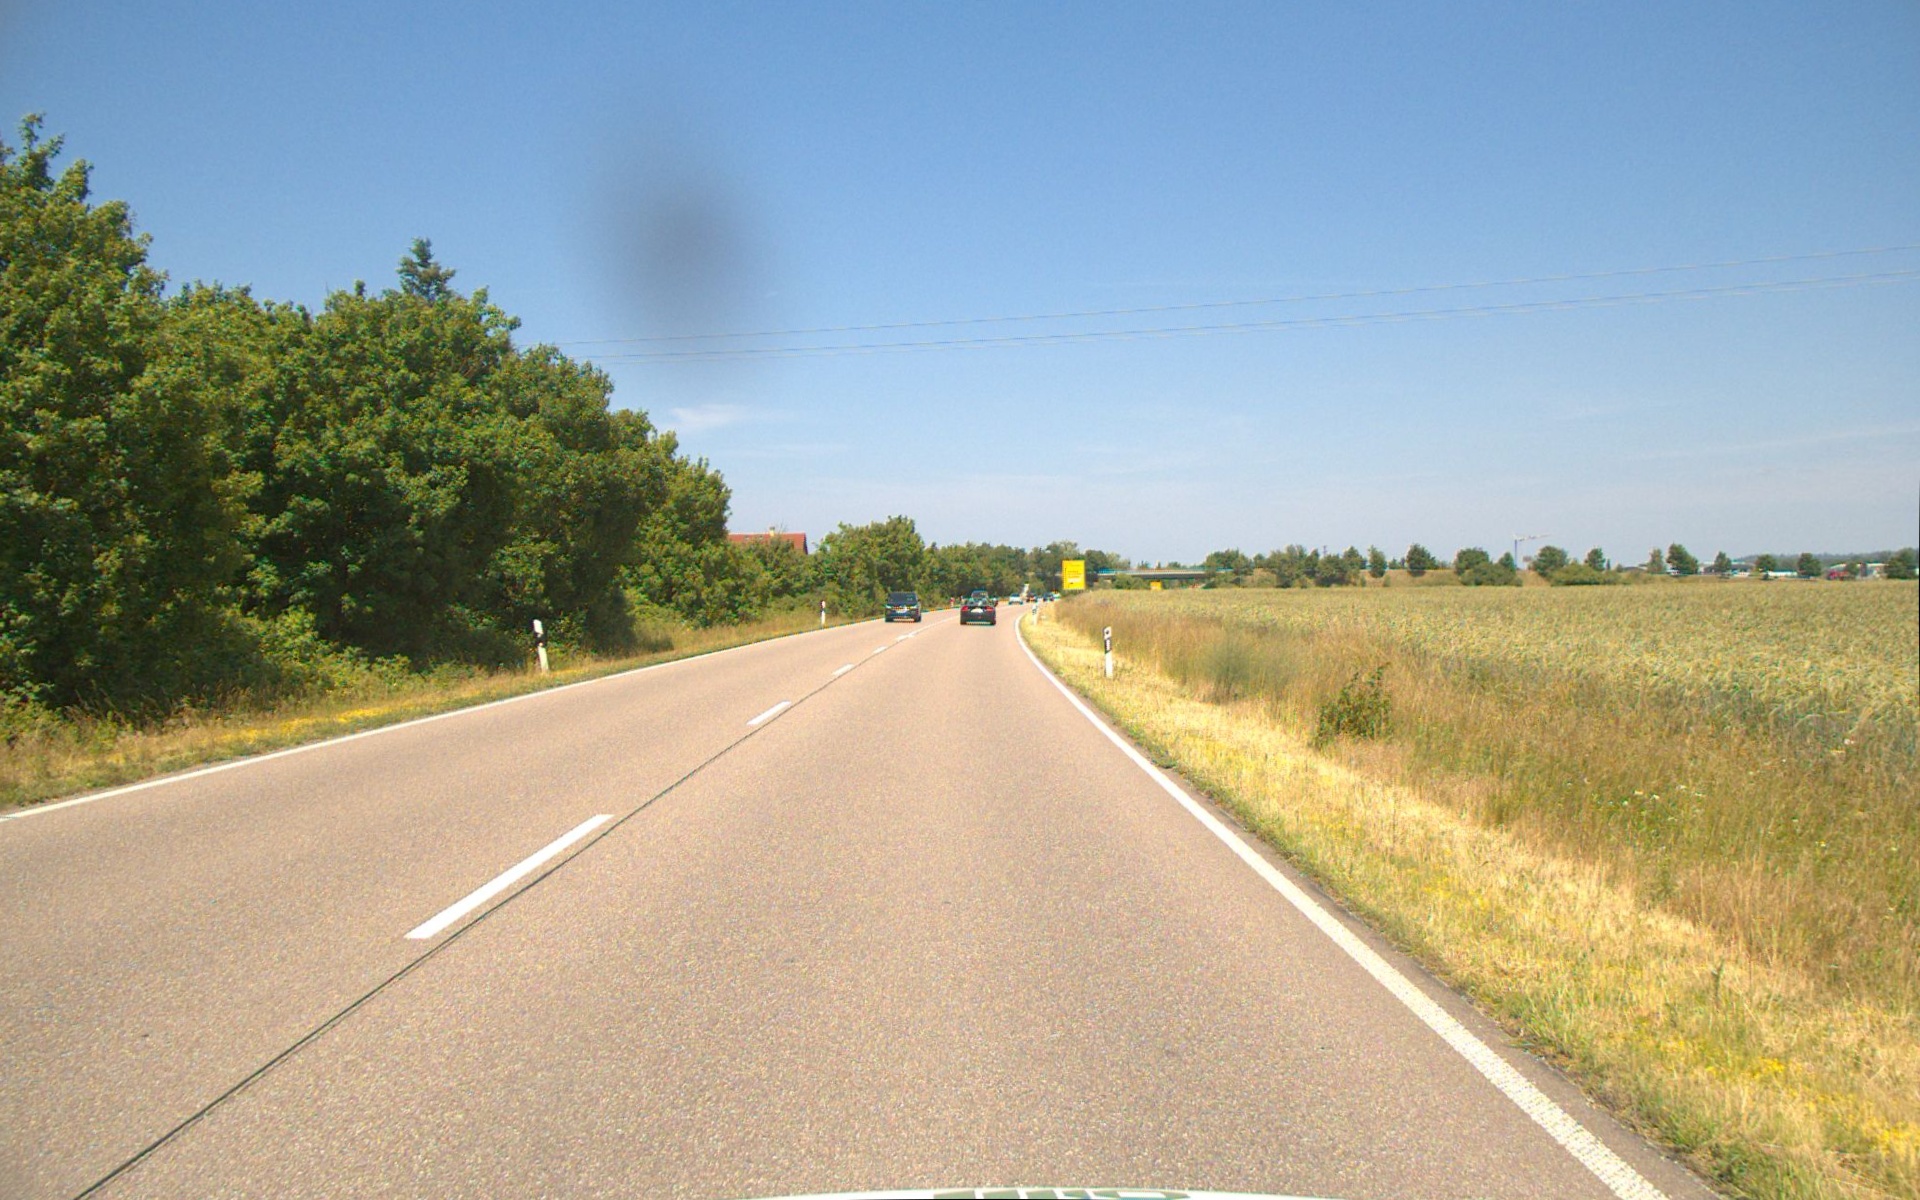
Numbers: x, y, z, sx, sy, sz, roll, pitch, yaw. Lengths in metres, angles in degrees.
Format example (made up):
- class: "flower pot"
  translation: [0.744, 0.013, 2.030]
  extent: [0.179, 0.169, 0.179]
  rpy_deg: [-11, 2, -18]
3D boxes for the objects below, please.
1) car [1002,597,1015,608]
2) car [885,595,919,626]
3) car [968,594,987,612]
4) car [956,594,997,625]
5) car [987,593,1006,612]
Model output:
- class: "car"
  translation: [6.475, 0.346, 220.594]
  extent: [1.671, 1.405, 3.821]
  rpy_deg: [0, 0, 3]
- class: "car"
  translation: [-3.038, 0.515, 87.371]
  extent: [1.664, 1.594, 3.671]
  rpy_deg: [0, 0, 0]
- class: "car"
  translation: [1.741, 0.277, 163.490]
  extent: [1.781, 1.731, 5.003]
  rpy_deg: [0, 0, 2]
- class: "car"
  translation: [0.845, 0.459, 82.030]
  extent: [1.776, 1.466, 4.002]
  rpy_deg: [1, 0, 3]
- class: "car"
  translation: [4.053, 0.281, 183.281]
  extent: [1.827, 2.049, 4.002]
  rpy_deg: [1, 0, 5]
